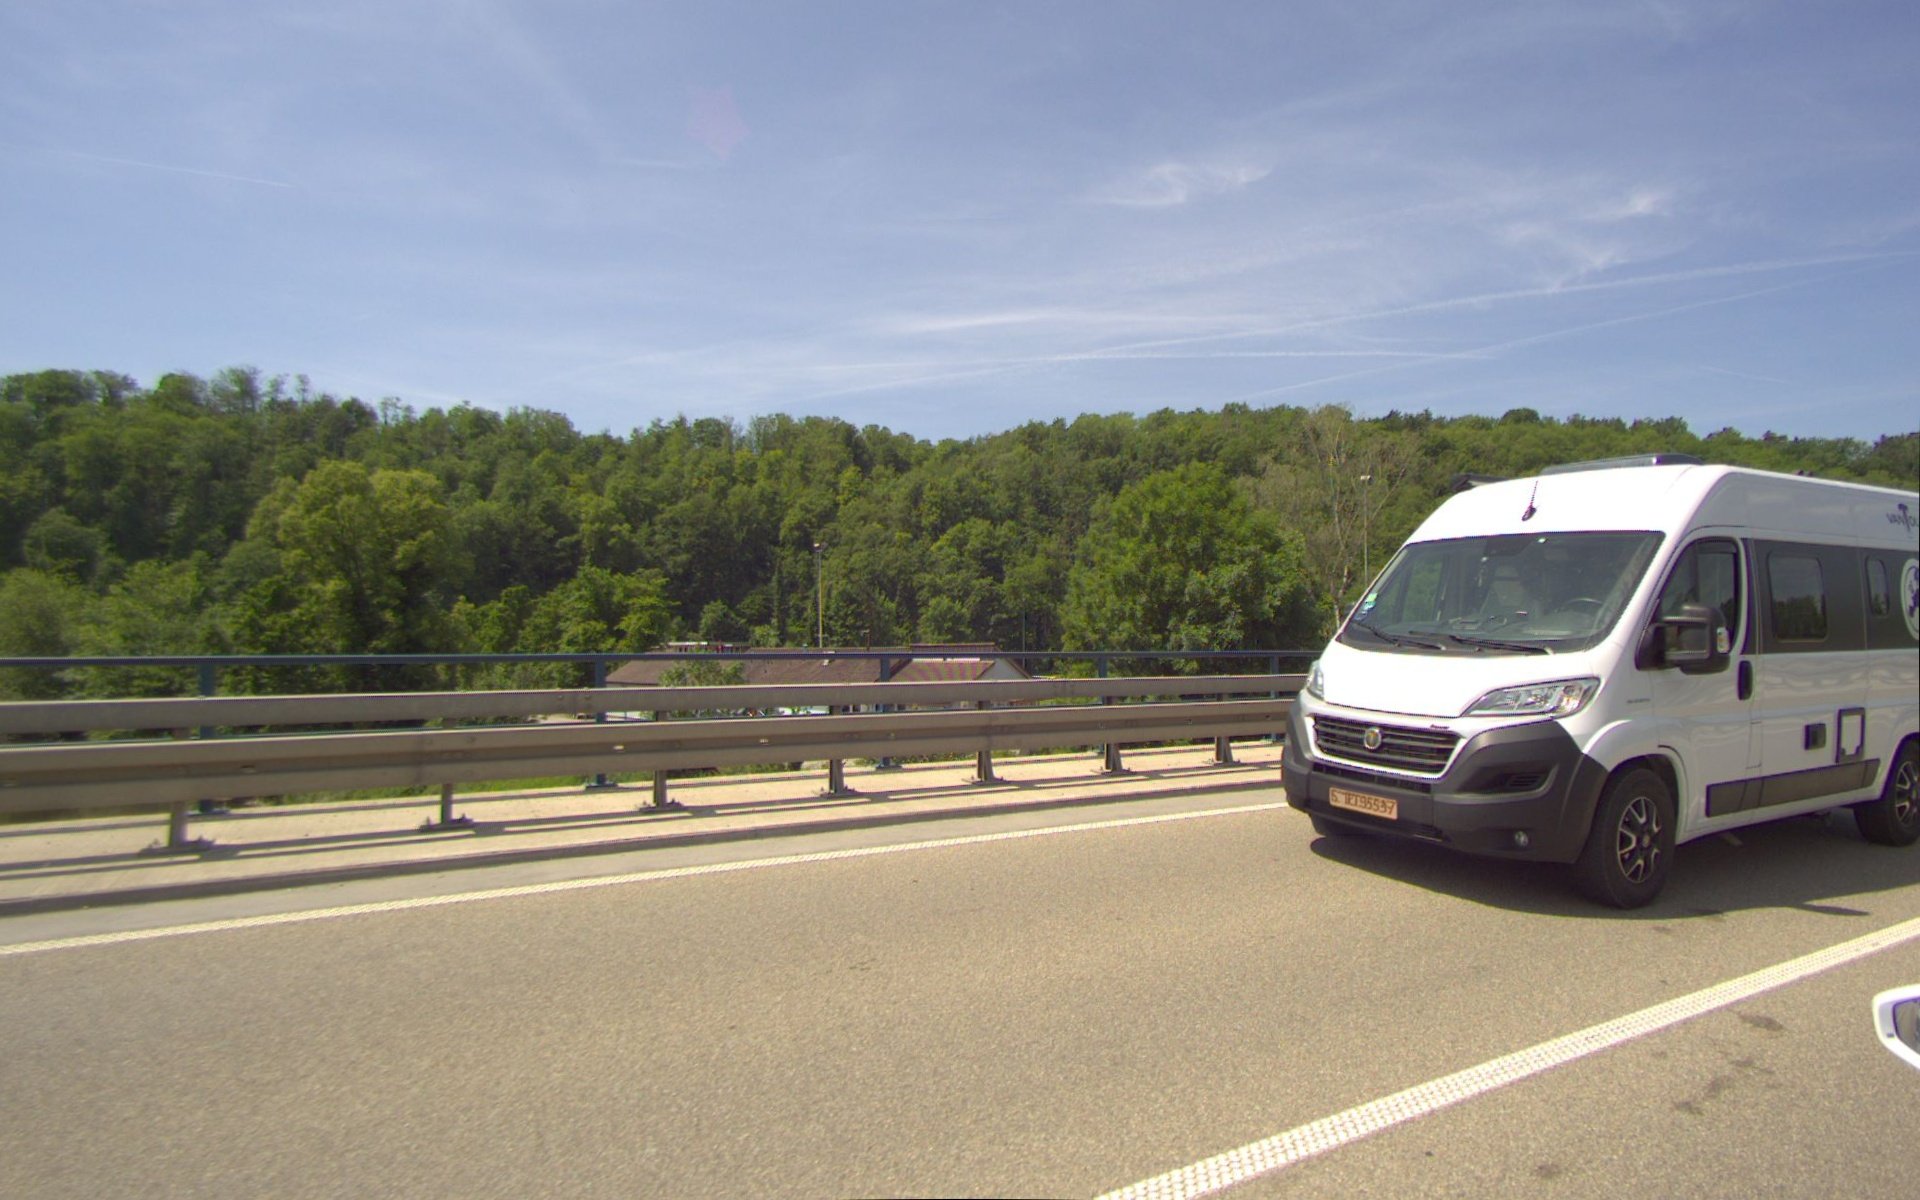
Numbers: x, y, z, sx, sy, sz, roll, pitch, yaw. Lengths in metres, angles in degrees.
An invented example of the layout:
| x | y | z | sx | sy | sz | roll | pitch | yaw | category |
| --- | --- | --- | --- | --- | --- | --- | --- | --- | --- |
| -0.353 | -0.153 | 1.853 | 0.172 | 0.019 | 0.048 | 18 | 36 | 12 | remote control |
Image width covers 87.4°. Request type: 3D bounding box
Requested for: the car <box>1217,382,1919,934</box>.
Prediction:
| x | y | z | sx | sy | sz | roll | pitch | yaw | category |
| --- | --- | --- | --- | --- | --- | --- | --- | --- | --- |
| 4.726 | 0.322 | 7.080 | 5.727 | 2.593 | 2.169 | 1 | 0 | -29 | car |
